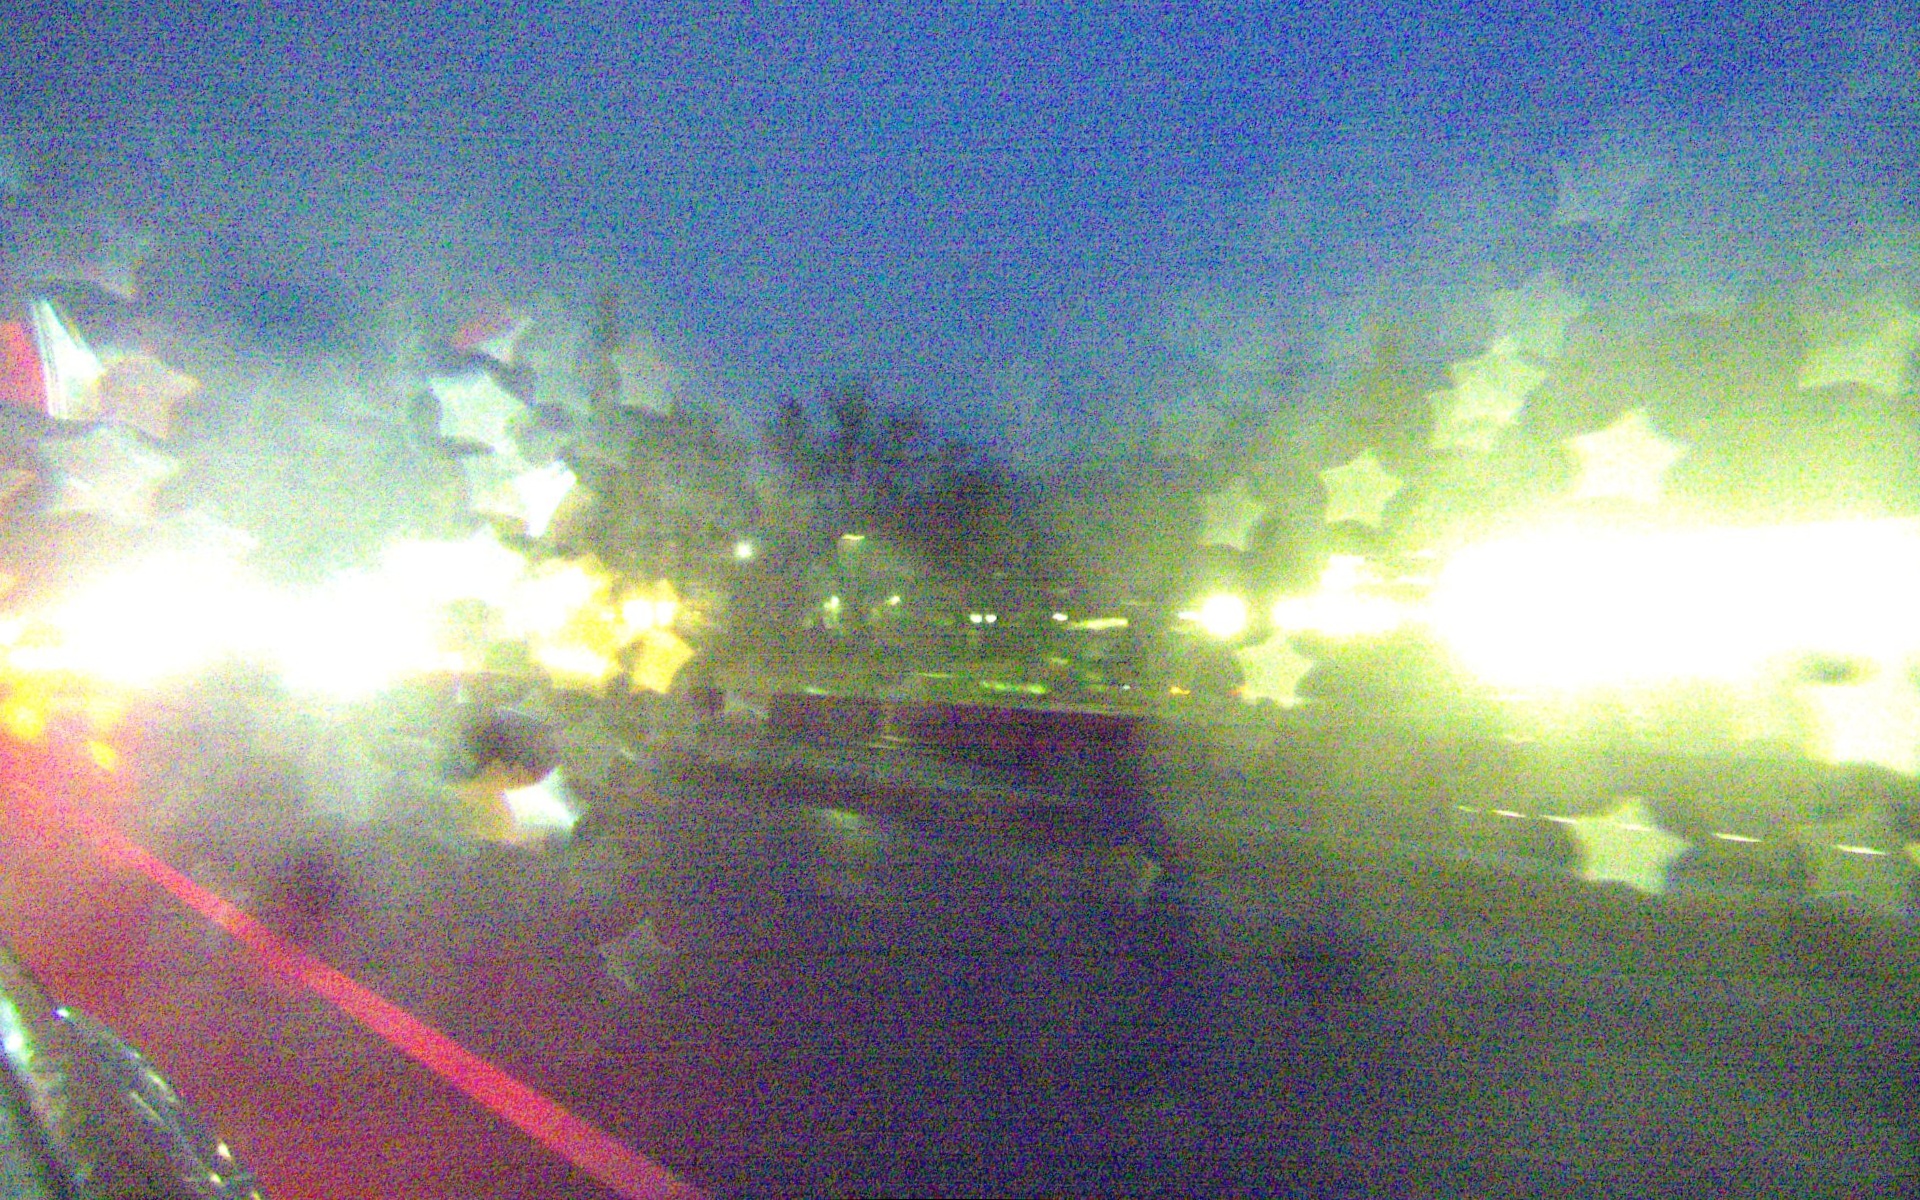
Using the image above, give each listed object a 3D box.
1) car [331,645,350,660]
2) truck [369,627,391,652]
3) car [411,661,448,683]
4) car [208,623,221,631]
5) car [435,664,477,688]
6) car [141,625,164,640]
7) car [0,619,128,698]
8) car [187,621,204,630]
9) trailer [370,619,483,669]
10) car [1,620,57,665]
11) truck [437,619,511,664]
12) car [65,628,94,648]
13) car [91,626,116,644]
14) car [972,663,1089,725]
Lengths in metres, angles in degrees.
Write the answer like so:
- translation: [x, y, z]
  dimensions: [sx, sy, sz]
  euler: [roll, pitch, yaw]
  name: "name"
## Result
- translation: [-75.270, 6.366, 122.993]
  dimensions: [1.784, 1.688, 4.303]
  euler: [0, -1, -35]
  name: "car"
- translation: [-88.462, 5.981, 154.492]
  dimensions: [2.717, 3.509, 8.130]
  euler: [0, -1, -28]
  name: "truck"
- translation: [-46.081, 6.211, 87.900]
  dimensions: [1.786, 1.688, 4.298]
  euler: [0, -1, -42]
  name: "car"
- translation: [-154.352, 5.566, 209.611]
  dimensions: [1.613, 1.531, 3.782]
  euler: [1, -1, -28]
  name: "car"
- translation: [-39.502, 5.937, 79.292]
  dimensions: [1.786, 1.582, 4.297]
  euler: [0, -1, -42]
  name: "car"
- translation: [-107.487, 4.300, 134.776]
  dimensions: [1.967, 1.819, 4.608]
  euler: [0, -1, -34]
  name: "car"
- translation: [-20.665, 1.253, 23.084]
  dimensions: [4.611, 1.625, 1.972]
  euler: [-1, -1, 42]
  name: "car"
- translation: [-138.266, 4.661, 183.039]
  dimensions: [1.760, 1.490, 3.692]
  euler: [-1, -1, -26]
  name: "car"
- translation: [-56.799, 4.558, 108.279]
  dimensions: [3.314, 4.832, 11.475]
  euler: [-1, -1, 21]
  name: "trailer"
- translation: [-46.277, 2.076, 50.290]
  dimensions: [1.970, 2.090, 4.004]
  euler: [0, -1, -43]
  name: "car"
- translation: [-54.627, 4.571, 113.871]
  dimensions: [3.314, 4.832, 7.268]
  euler: [-1, -1, 21]
  name: "truck"
- translation: [-73.397, 3.114, 84.377]
  dimensions: [1.795, 1.571, 4.184]
  euler: [0, -1, -41]
  name: "car"
- translation: [-88.326, 3.608, 104.385]
  dimensions: [1.765, 1.635, 4.385]
  euler: [0, 0, -38]
  name: "car"
- translation: [2.651, 3.507, 38.490]
  dimensions: [3.995, 2.029, 1.974]
  euler: [-1, -1, 39]
  name: "car"
